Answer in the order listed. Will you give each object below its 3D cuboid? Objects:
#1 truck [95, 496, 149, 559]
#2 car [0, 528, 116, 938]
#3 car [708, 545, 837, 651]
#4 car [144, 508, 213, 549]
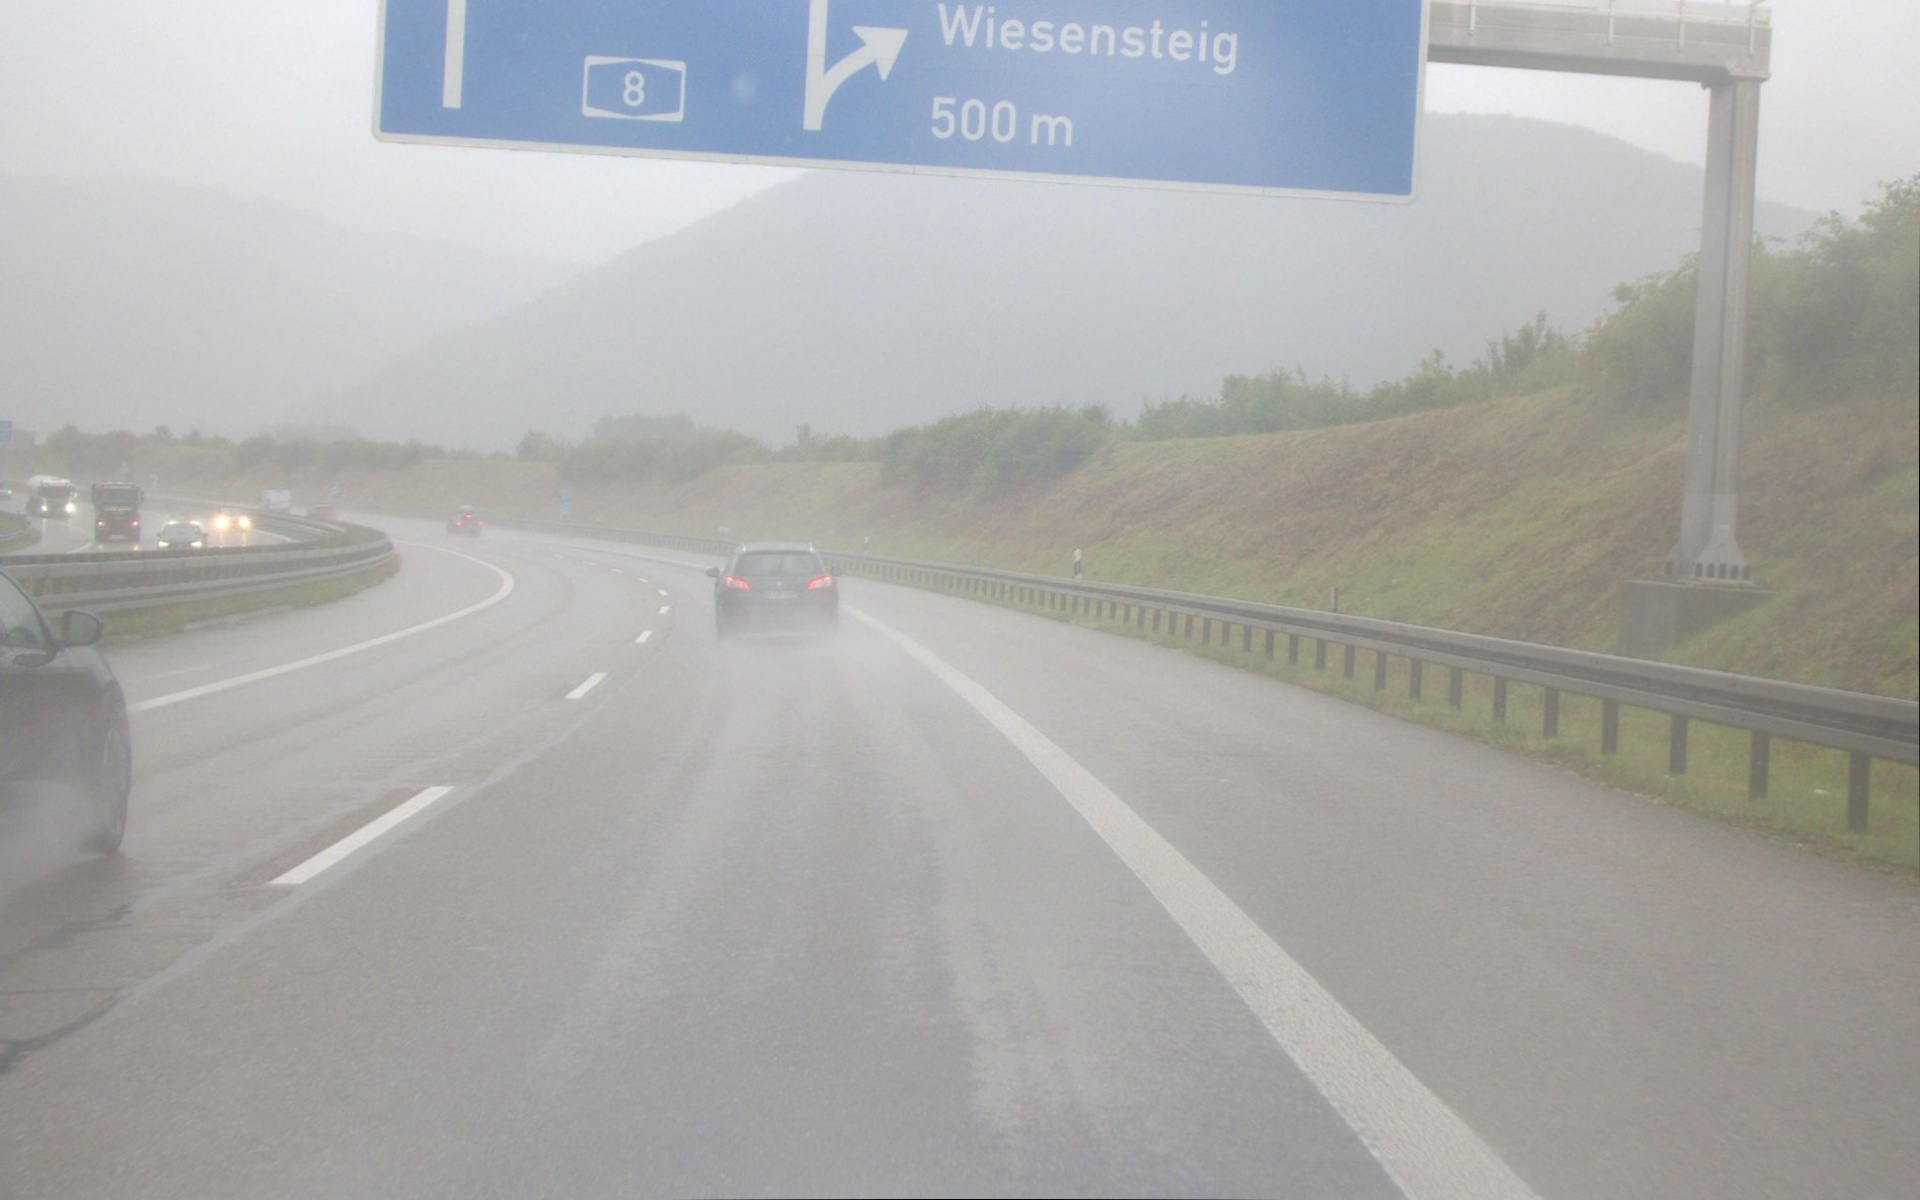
[{"bbox_3d":[-47.950,-4.156,196.854,2.715,3.530,5.312,0,1,-10],"label":"truck"},{"bbox_3d":[-5.052,0.418,14.842,2.405,1.510,4.785,2,1,-10],"label":"car"},{"bbox_3d":[-2.738,-0.057,50.928,1.679,1.467,3.815,2,1,0],"label":"car"},{"bbox_3d":[-31.475,-2.874,138.550,1.993,1.514,4.000,2,0,-2],"label":"car"}]
